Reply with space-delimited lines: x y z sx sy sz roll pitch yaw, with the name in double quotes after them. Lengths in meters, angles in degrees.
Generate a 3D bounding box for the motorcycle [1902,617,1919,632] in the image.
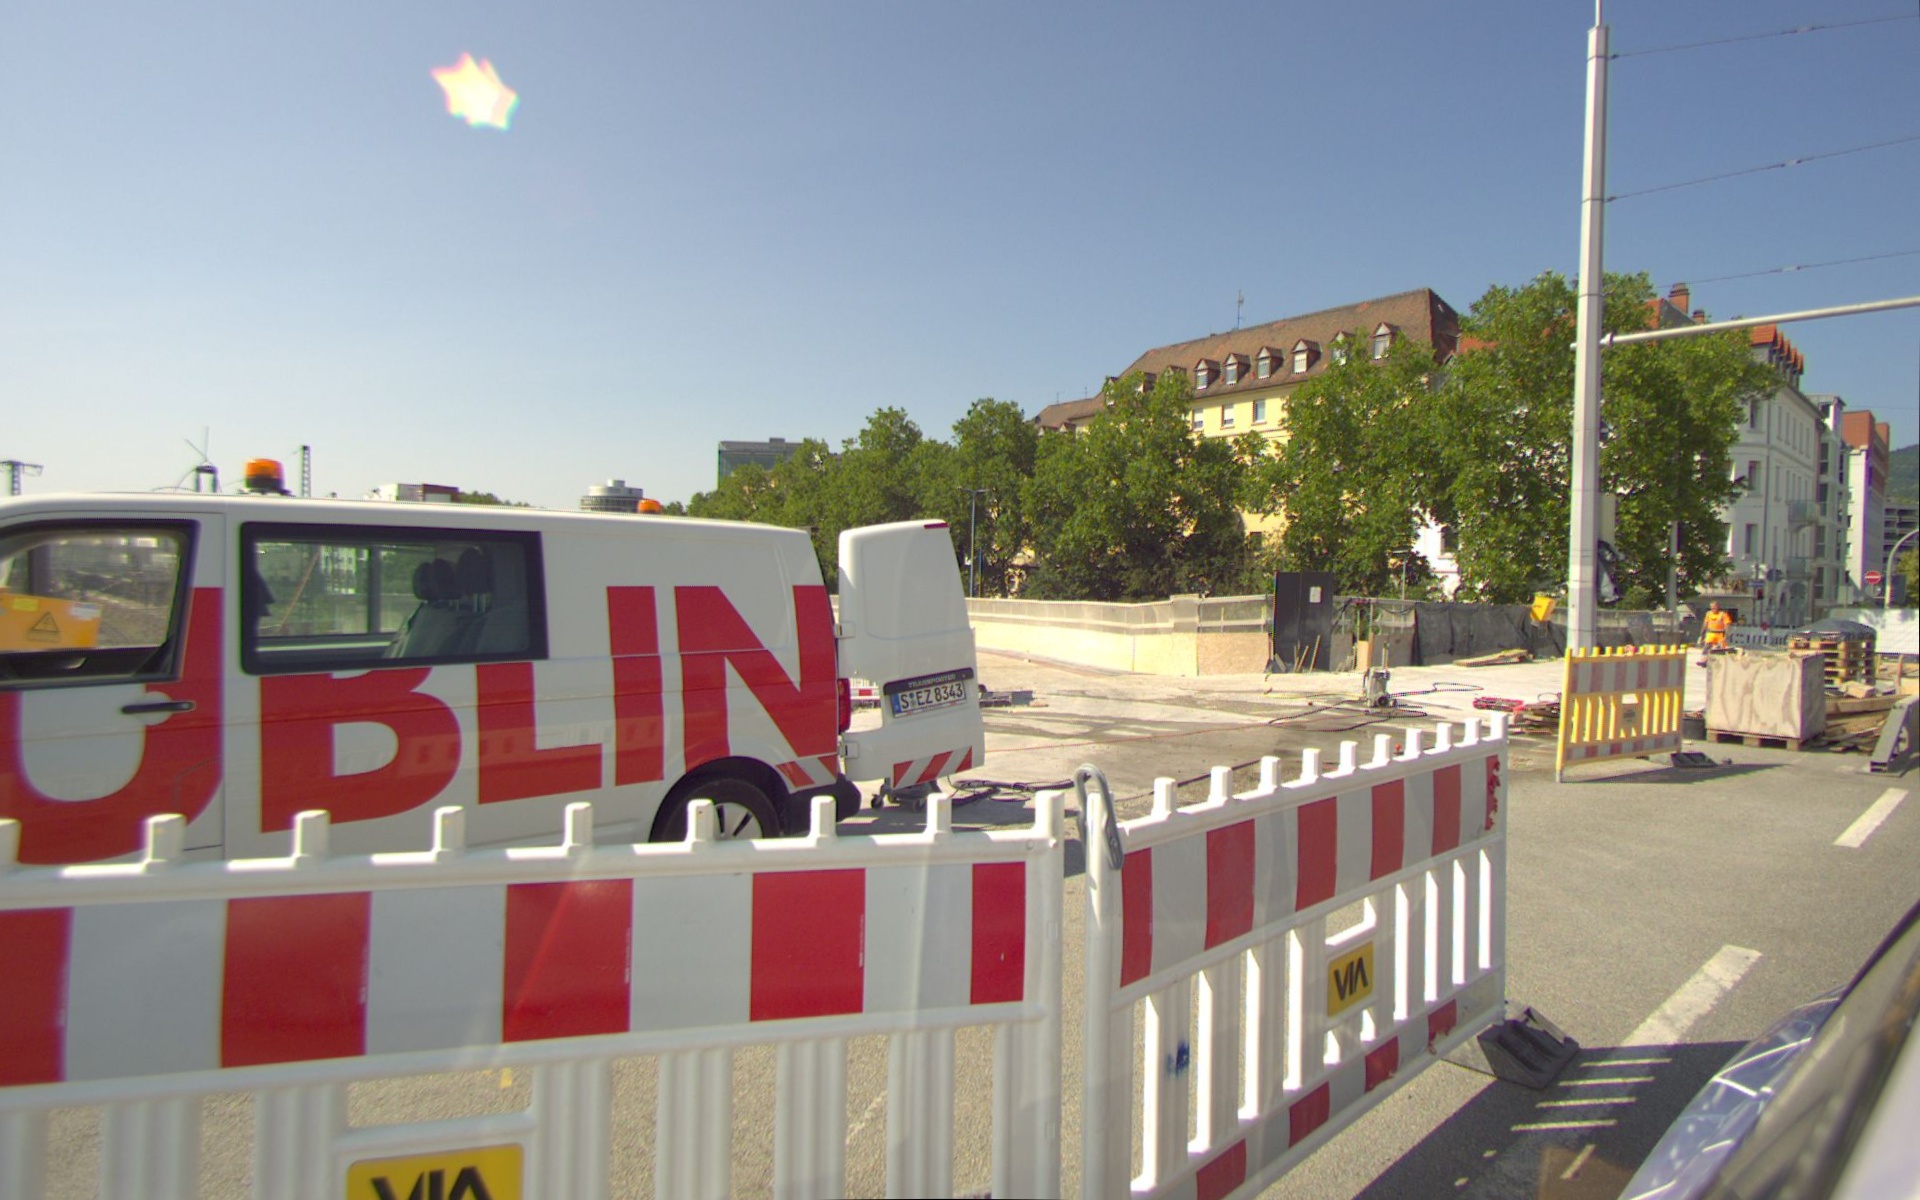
78.239 2.026 82.347 0.731 1.180 2.177 1 1 -40 "motorcycle"

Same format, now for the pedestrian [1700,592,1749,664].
20.211 0.729 26.758 0.849 1.817 0.821 1 2 -42 "pedestrian"

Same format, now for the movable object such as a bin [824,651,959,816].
-0.489 0.965 7.640 0.876 1.087 0.941 1 0 5 "movable object such as a bin"

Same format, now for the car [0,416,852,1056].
-3.005 0.423 4.568 4.805 2.059 1.882 0 1 -41 "car"
